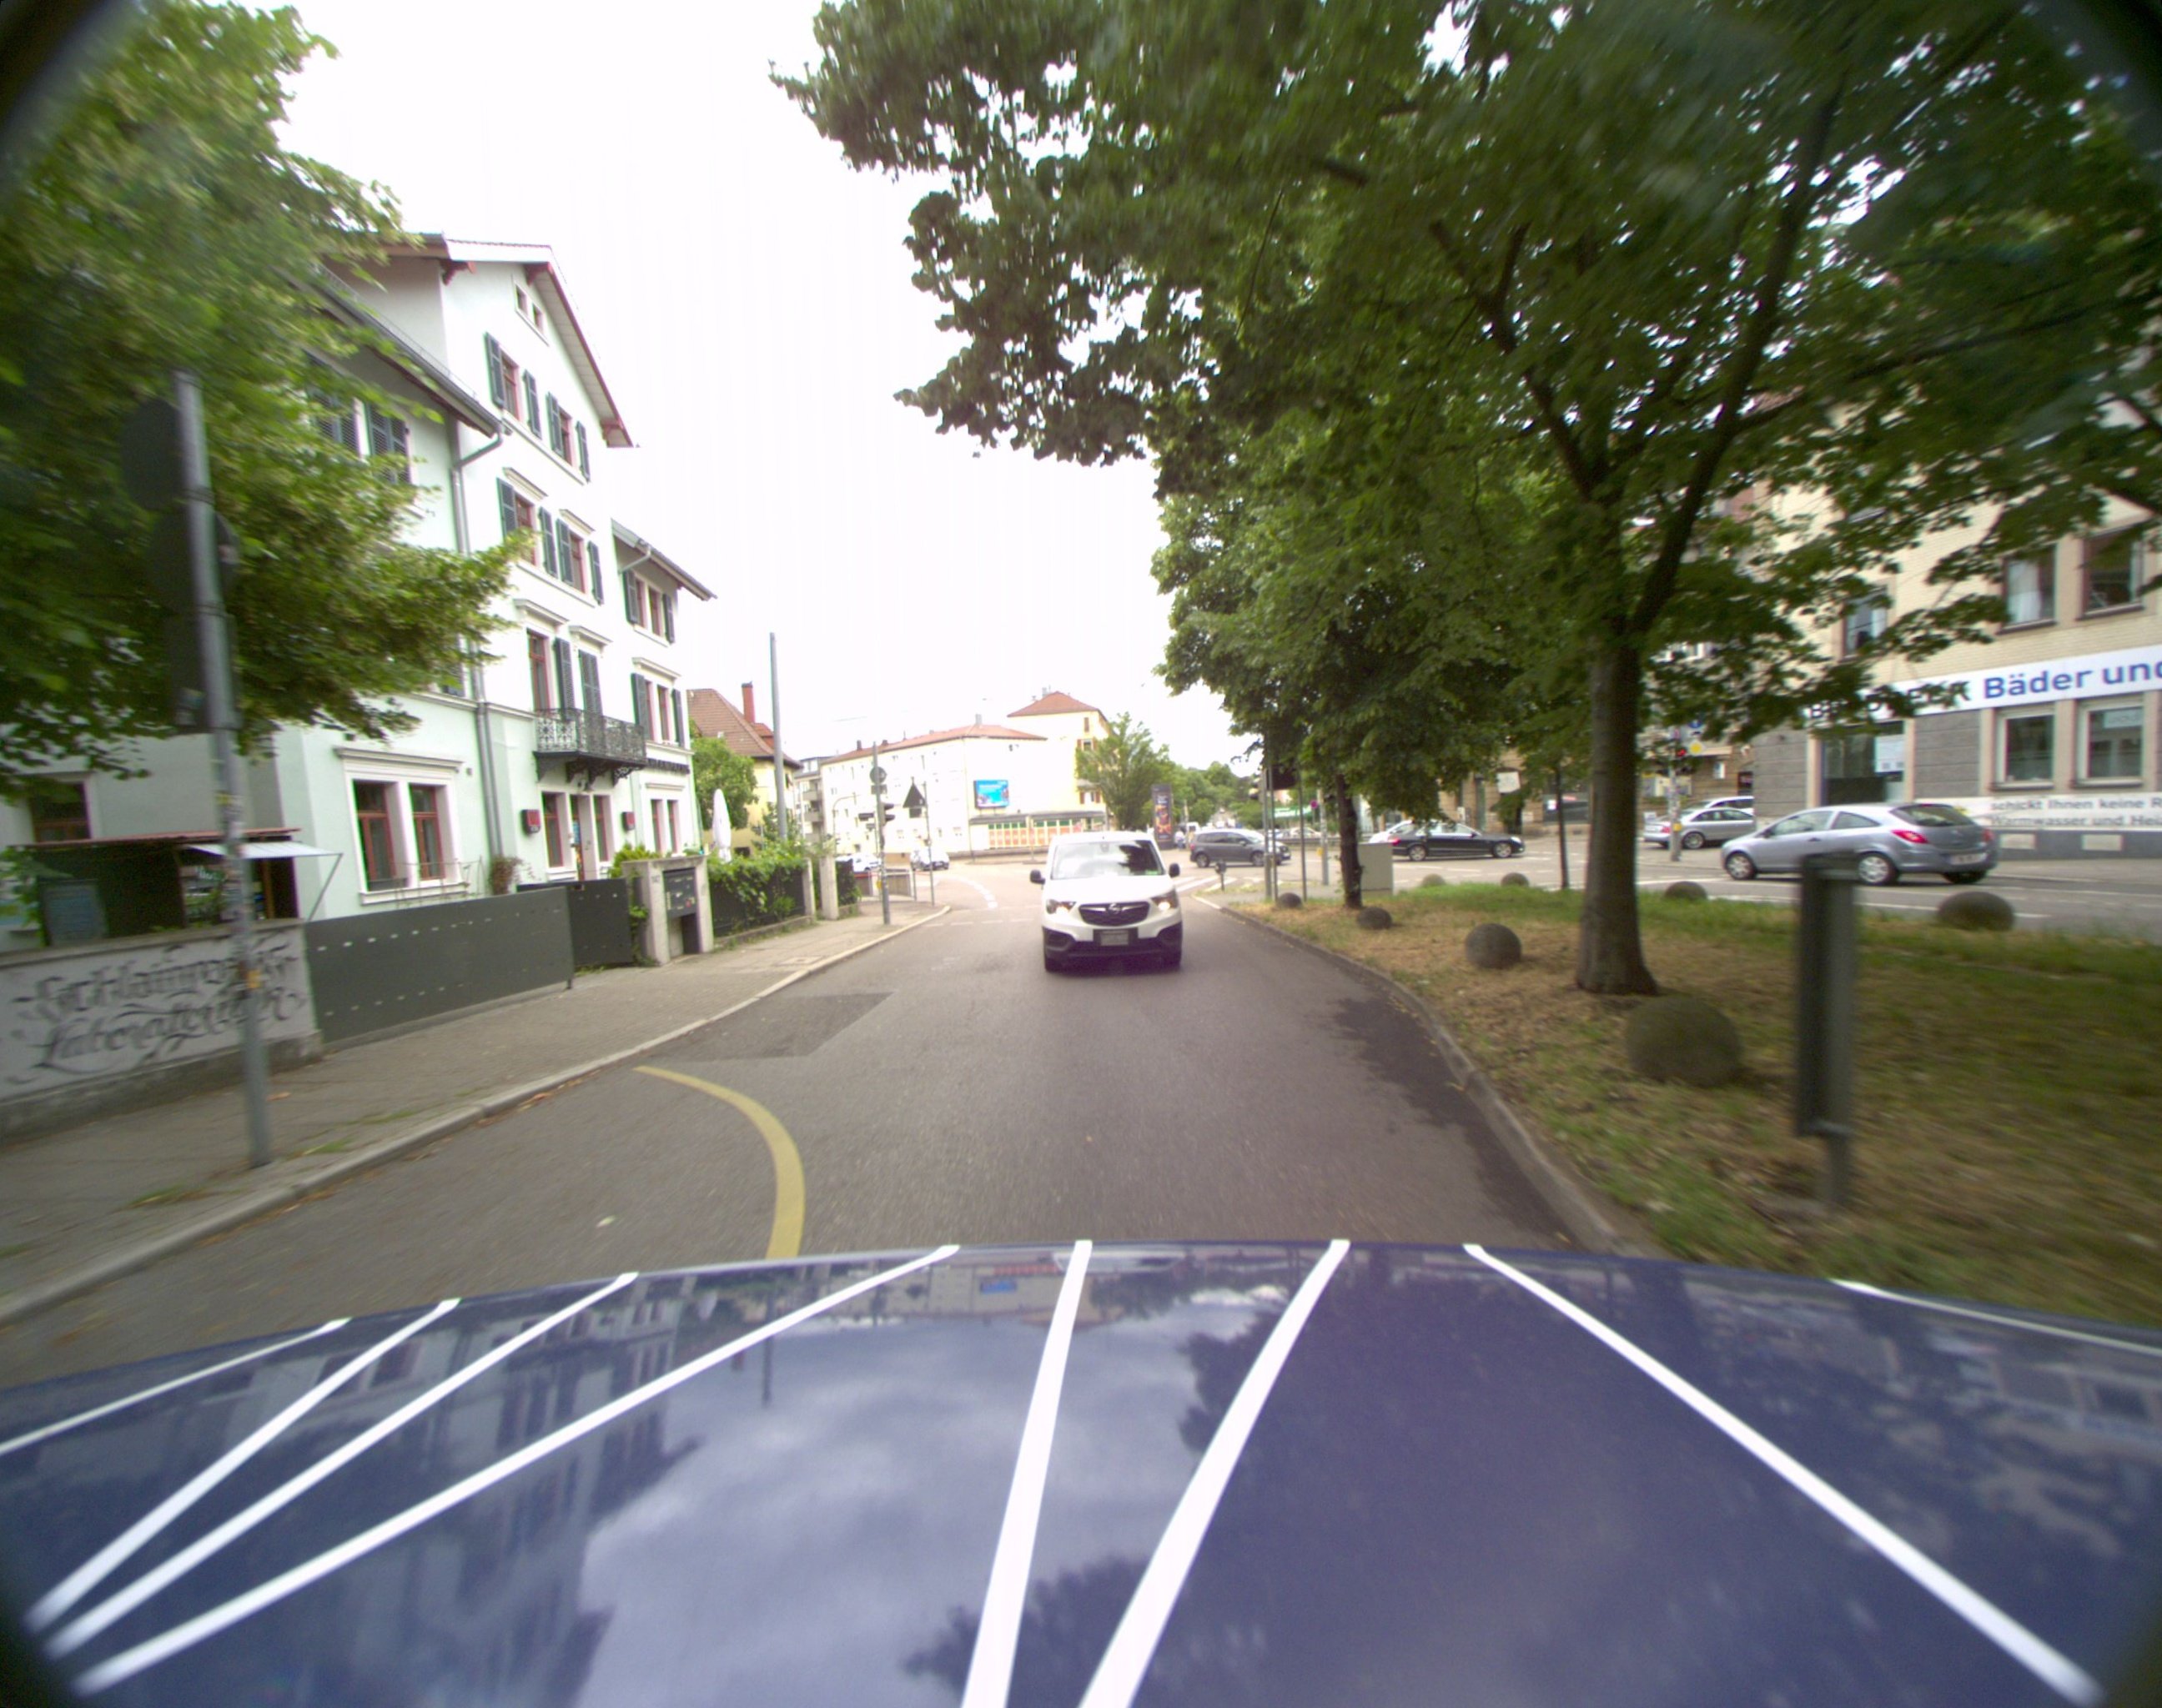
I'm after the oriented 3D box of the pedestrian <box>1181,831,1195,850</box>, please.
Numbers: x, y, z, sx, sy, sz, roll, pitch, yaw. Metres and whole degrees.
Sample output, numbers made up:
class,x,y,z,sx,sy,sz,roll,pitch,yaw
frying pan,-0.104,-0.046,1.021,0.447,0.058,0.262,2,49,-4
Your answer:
class,x,y,z,sx,sy,sz,roll,pitch,yaw
pedestrian,7.499,-0.945,53.445,0.665,1.334,0.627,-6,4,-33

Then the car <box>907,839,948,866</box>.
class,x,y,z,sx,sy,sz,roll,pitch,yaw
car,-12.746,-0.157,62.921,2.002,2.003,4.259,-6,3,-30

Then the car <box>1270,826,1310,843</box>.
class,x,y,z,sx,sy,sz,roll,pitch,yaw
car,23.794,-2.221,86.671,3.922,1.590,1.896,-2,4,37

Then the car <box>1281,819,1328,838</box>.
class,x,y,z,sx,sy,sz,roll,pitch,yaw
car,21.995,-2.528,74.743,1.896,1.590,3.922,-7,4,-45

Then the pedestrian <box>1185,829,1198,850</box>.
class,x,y,z,sx,sy,sz,roll,pitch,yaw
pedestrian,7.680,-1.029,52.807,0.606,1.425,0.600,-6,4,-33

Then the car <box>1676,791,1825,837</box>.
class,x,y,z,sx,sy,sz,roll,pitch,yaw
car,25.717,-1.540,29.315,4.048,1.465,1.652,-3,3,11

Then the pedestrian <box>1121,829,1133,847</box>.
class,x,y,z,sx,sy,sz,roll,pitch,yaw
pedestrian,4.359,-1.483,72.084,0.867,1.610,0.919,-3,3,13

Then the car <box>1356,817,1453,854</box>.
class,x,y,z,sx,sy,sz,roll,pitch,yaw
car,14.913,-0.878,35.196,3.954,1.422,1.797,-3,3,19

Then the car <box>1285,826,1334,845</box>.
class,x,y,z,sx,sy,sz,roll,pitch,yaw
car,21.514,-1.751,71.480,1.896,1.590,3.922,-7,4,-45

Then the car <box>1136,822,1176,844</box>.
class,x,y,z,sx,sy,sz,roll,pitch,yaw
car,6.580,-1.822,66.007,2.207,1.563,4.481,-3,3,23

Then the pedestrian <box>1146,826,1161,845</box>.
class,x,y,z,sx,sy,sz,roll,pitch,yaw
pedestrian,7.657,-1.999,80.361,0.930,1.948,1.265,-5,4,-24

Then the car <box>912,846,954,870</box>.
class,x,y,z,sx,sy,sz,roll,pitch,yaw
car,-10.603,0.306,54.281,2.041,1.541,4.028,-4,1,-23

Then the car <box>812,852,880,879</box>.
class,x,y,z,sx,sy,sz,roll,pitch,yaw
car,-15.260,0.729,49.489,1.904,1.471,3.893,-4,1,29

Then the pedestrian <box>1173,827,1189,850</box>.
class,x,y,z,sx,sy,sz,roll,pitch,yaw
pedestrian,7.129,-1.075,54.149,0.707,1.574,0.801,-6,4,-34

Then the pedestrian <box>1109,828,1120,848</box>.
class,x,y,z,sx,sy,sz,roll,pitch,yaw
pedestrian,2.780,-1.297,62.395,0.607,1.610,0.553,-6,4,-35

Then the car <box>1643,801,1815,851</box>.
class,x,y,z,sx,sy,sz,roll,pitch,yaw
car,22.550,-0.985,26.599,4.260,1.335,1.707,-4,5,12

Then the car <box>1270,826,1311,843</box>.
class,x,y,z,sx,sy,sz,roll,pitch,yaw
car,23.033,-2.111,83.535,3.922,1.590,1.896,-2,4,37

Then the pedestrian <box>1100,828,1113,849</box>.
class,x,y,z,sx,sy,sz,roll,pitch,yaw
pedestrian,2.100,-1.283,63.071,0.770,1.610,0.651,-2,4,32

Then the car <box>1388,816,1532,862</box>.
class,x,y,z,sx,sy,sz,roll,pitch,yaw
car,14.277,-0.585,28.939,4.728,1.412,1.843,-3,3,22

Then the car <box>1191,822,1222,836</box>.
class,x,y,z,sx,sy,sz,roll,pitch,yaw
car,18.138,-3.622,109.616,3.936,1.696,1.889,-5,3,-23

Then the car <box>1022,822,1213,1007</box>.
class,x,y,z,sx,sy,sz,roll,pitch,yaw
car,0.383,0.625,10.212,1.857,1.798,4.729,-4,0,0

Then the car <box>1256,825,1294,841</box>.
class,x,y,z,sx,sy,sz,roll,pitch,yaw
car,23.636,-2.560,92.499,3.922,1.590,1.896,-2,4,37

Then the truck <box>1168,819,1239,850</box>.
class,x,y,z,sx,sy,sz,roll,pitch,yaw
truck,11.833,-1.932,72.962,6.466,2.707,2.766,-3,1,-34

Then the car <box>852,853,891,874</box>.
class,x,y,z,sx,sy,sz,roll,pitch,yaw
car,-17.320,0.771,62.665,1.957,1.541,4.026,-4,1,-31

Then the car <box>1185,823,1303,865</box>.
class,x,y,z,sx,sy,sz,roll,pitch,yaw
car,7.099,-0.407,33.489,4.716,1.605,1.862,-2,2,43

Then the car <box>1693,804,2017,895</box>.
class,x,y,z,sx,sy,sz,roll,pitch,yaw
car,14.260,-0.096,14.440,1.673,1.399,4.293,-2,1,-2
